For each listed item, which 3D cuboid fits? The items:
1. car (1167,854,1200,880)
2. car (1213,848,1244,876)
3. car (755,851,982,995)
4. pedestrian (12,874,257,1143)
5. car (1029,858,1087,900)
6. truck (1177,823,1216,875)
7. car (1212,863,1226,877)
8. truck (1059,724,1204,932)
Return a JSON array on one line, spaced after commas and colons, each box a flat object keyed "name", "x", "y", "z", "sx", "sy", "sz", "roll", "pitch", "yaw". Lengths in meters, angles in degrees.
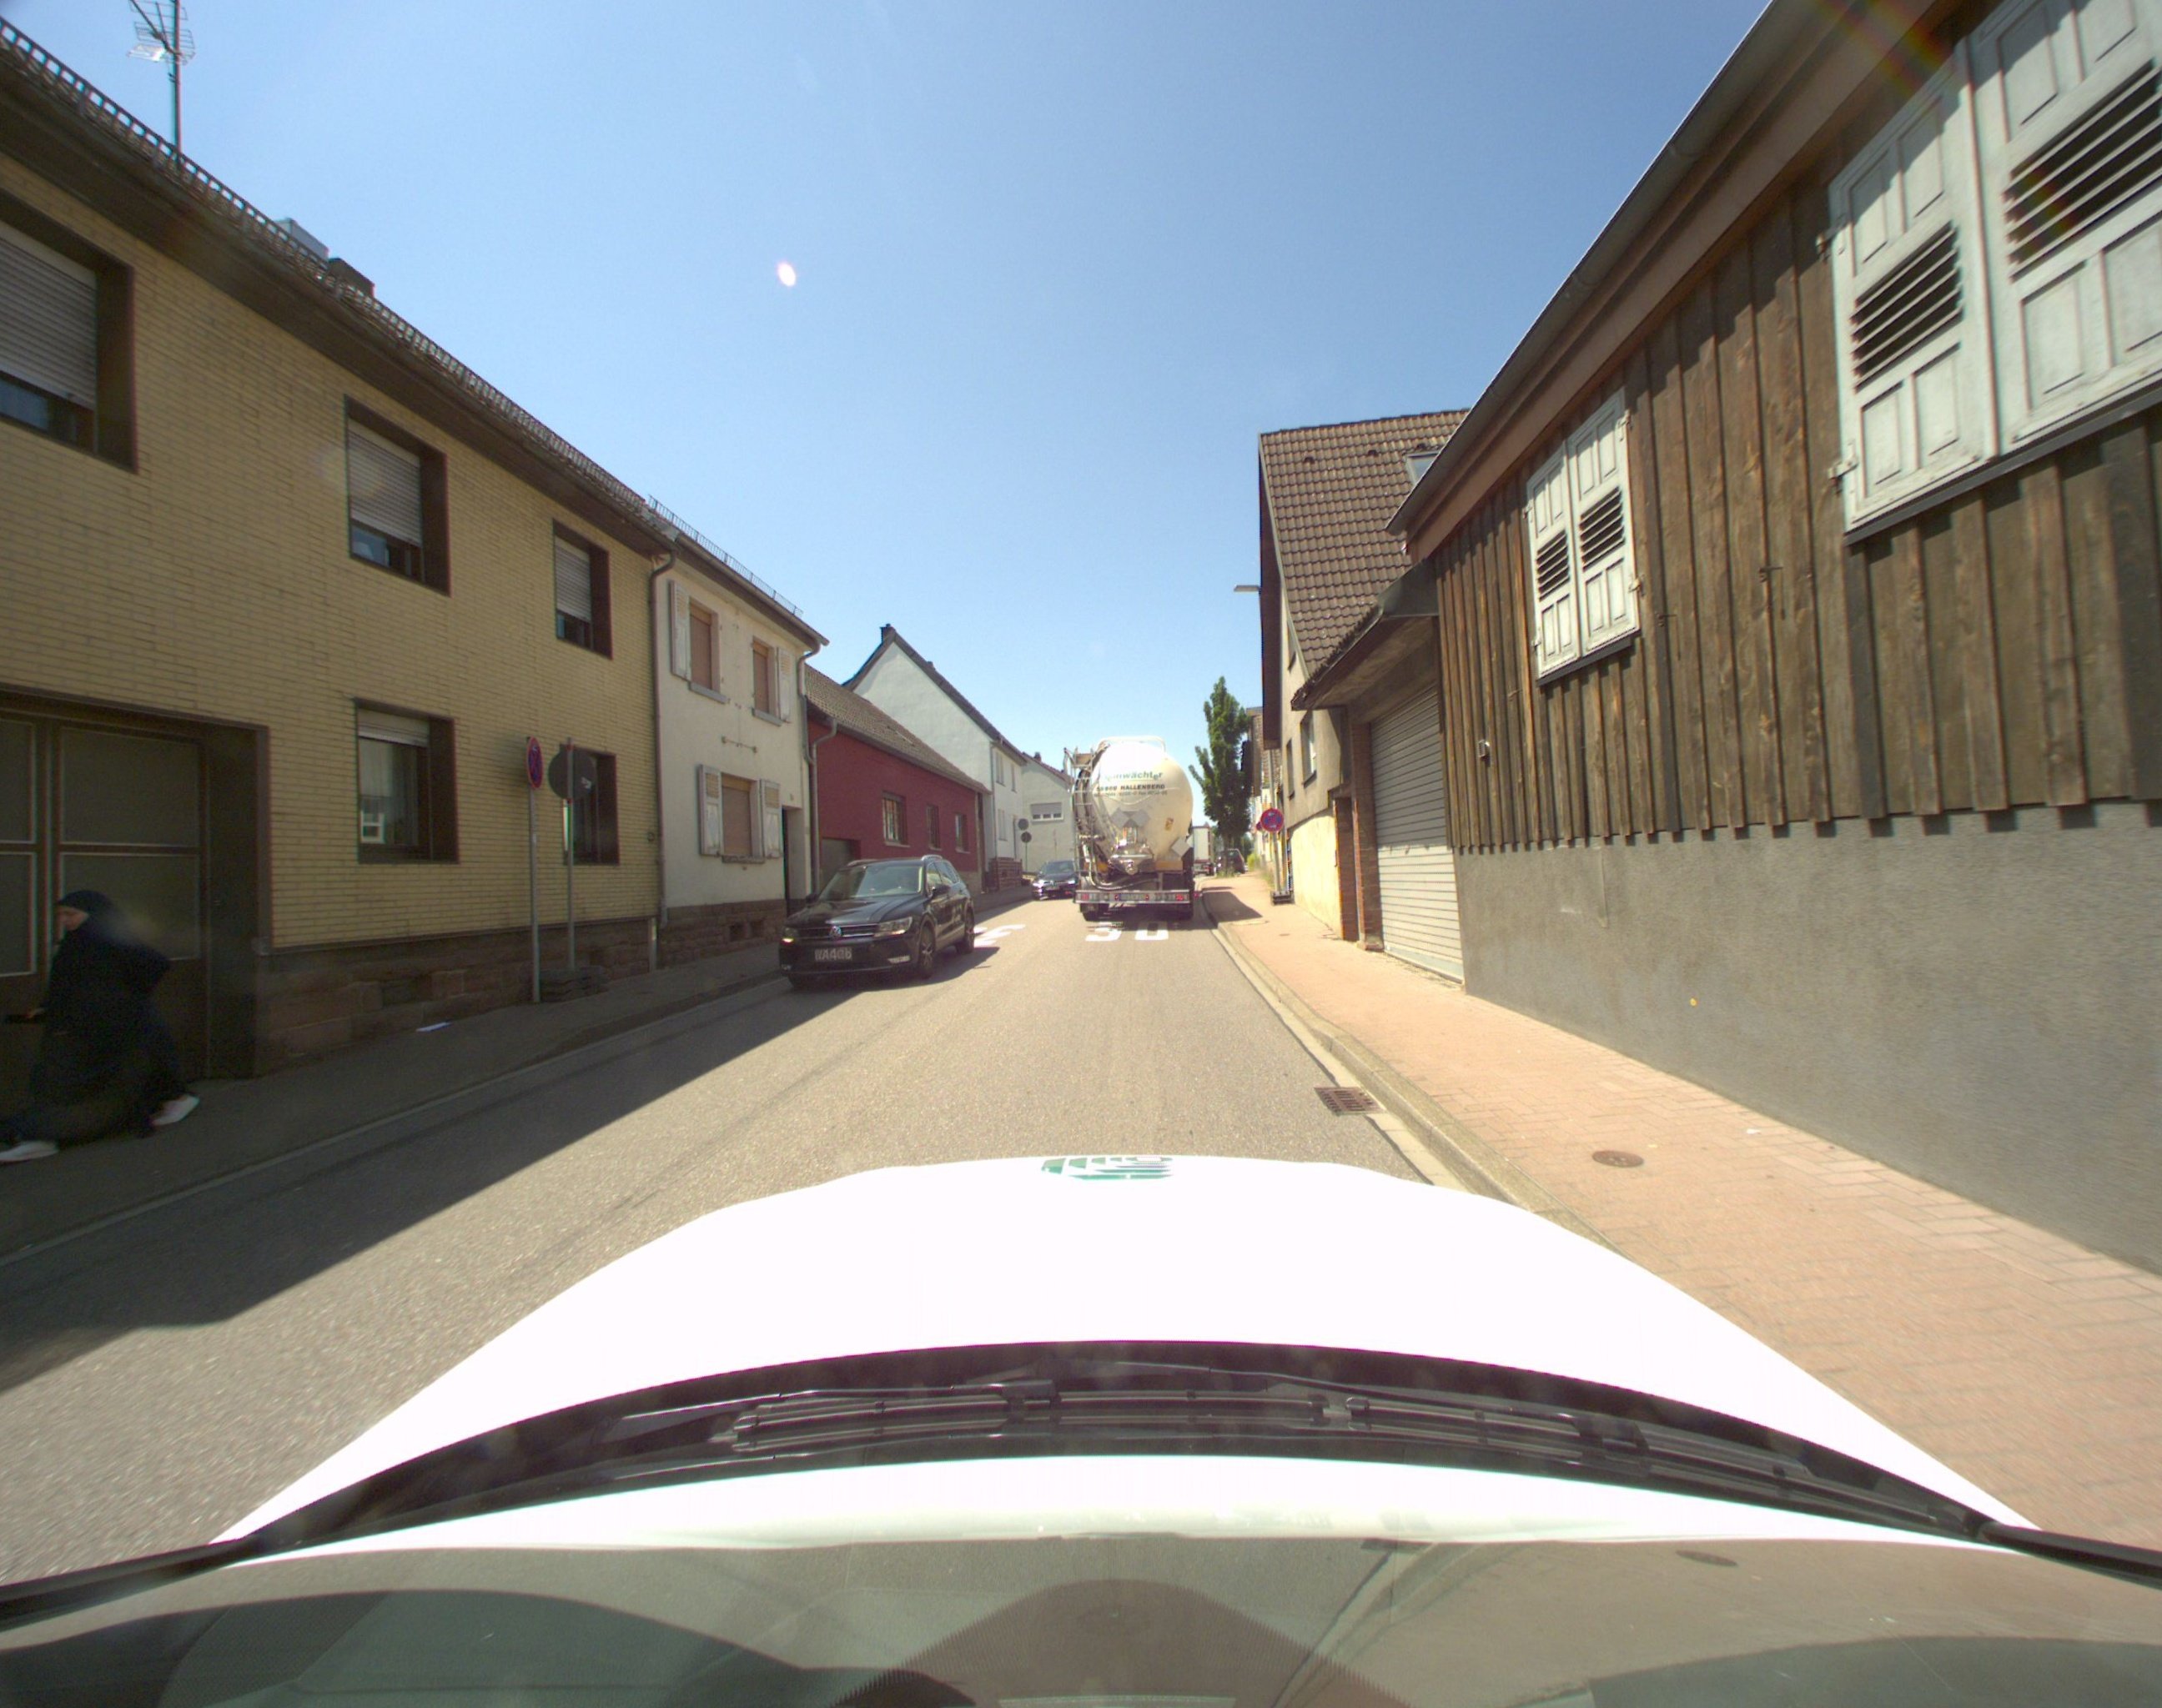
[{"name": "car", "x": 6.767, "y": 0.872, "z": 53.283, "sx": 1.690, "sy": 1.447, "sz": 4.850, "roll": -5, "pitch": -2, "yaw": 11}, {"name": "car", "x": 9.627, "y": 0.538, "z": 52.936, "sx": 1.791, "sy": 1.614, "sz": 4.562, "roll": -5, "pitch": -1, "yaw": 11}, {"name": "car", "x": -2.805, "y": 0.833, "z": 11.869, "sx": 1.803, "sy": 1.609, "sz": 4.341, "roll": -4, "pitch": 0, "yaw": 4}, {"name": "pedestrian", "x": -5.992, "y": 0.930, "z": 5.202, "sx": 0.659, "sy": 1.564, "sz": 0.756, "roll": -1, "pitch": 0, "yaw": 4}, {"name": "car", "x": -0.804, "y": 0.893, "z": 31.328, "sx": 1.686, "sy": 1.409, "sz": 4.206, "roll": -3, "pitch": -1, "yaw": 5}, {"name": "truck", "x": 9.953, "y": -0.408, "z": 69.520, "sx": 2.945, "sy": 4.069, "sz": 9.307, "roll": -2, "pitch": 0, "yaw": 9}, {"name": "car", "x": 20.619, "y": 2.400, "z": 121.410, "sx": 1.934, "sy": 1.970, "sz": 4.797, "roll": -3, "pitch": -2, "yaw": 9}, {"name": "truck", "x": 1.474, "y": -0.499, "z": 19.835, "sx": 2.718, "sy": 3.960, "sz": 8.158, "roll": -1, "pitch": 0, "yaw": 7}]
